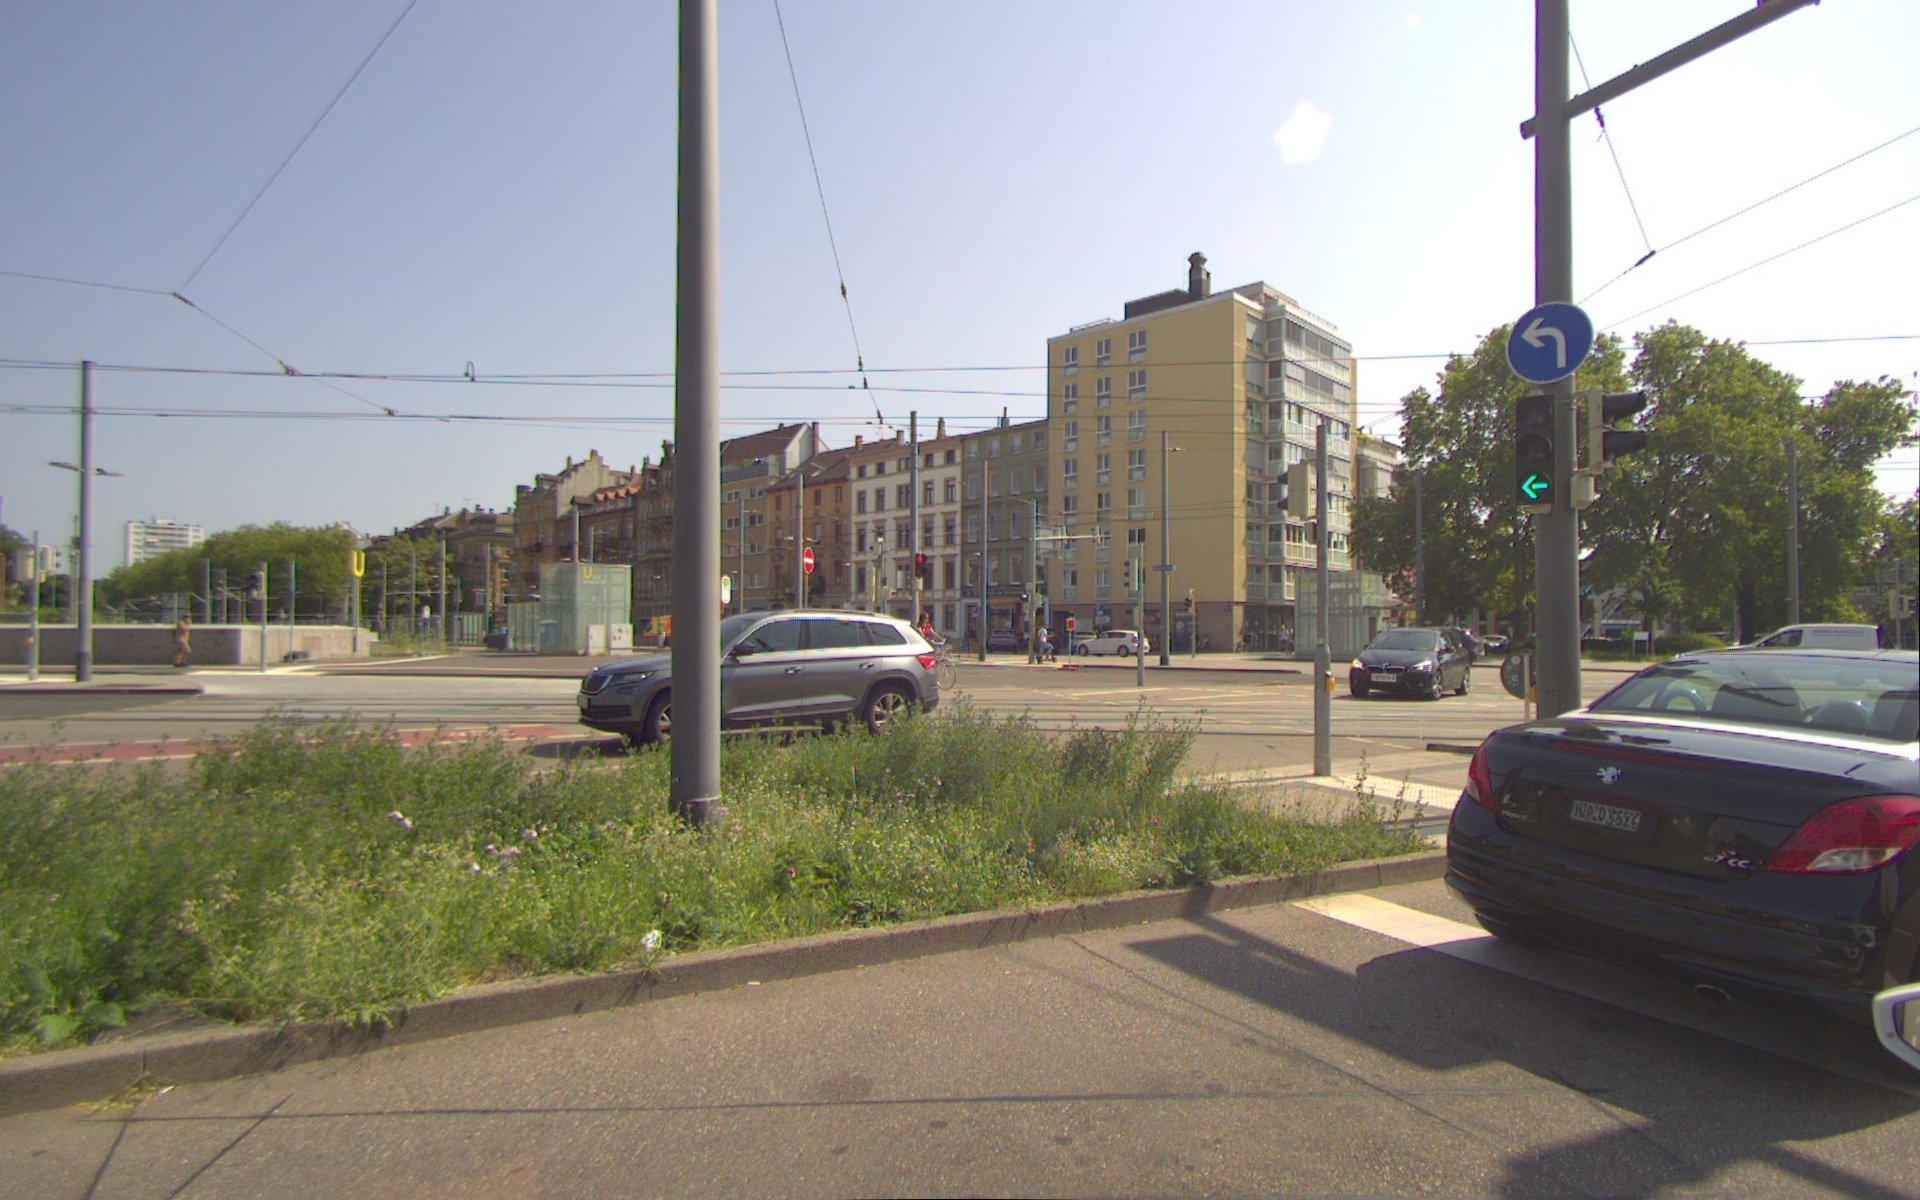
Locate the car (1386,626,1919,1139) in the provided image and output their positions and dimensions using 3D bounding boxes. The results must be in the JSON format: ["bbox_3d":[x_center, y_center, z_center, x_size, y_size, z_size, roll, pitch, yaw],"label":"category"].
[{"bbox_3d":[3.943,0.860,4.473,3.731,1.406,1.760,1,0,-26],"label":"car"}]

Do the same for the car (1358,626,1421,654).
[{"bbox_3d":[32.140,2.987,75.177,3.946,2.040,1.919,-1,-2,44],"label":"car"}]

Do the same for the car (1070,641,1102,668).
[{"bbox_3d":[7.633,3.301,61.308,1.712,1.528,4.002,0,-2,4],"label":"car"}]

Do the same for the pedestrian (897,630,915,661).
[{"bbox_3d":[-2.705,2.283,50.413,0.728,1.563,0.859,0,-2,10],"label":"pedestrian"}]

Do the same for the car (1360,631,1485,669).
[{"bbox_3d":[19.856,2.099,43.202,4.557,1.524,1.990,-1,-2,41],"label":"car"}]

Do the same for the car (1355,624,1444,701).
[{"bbox_3d":[10.039,1.352,22.940,1.706,1.581,4.206,0,-2,24],"label":"car"}]

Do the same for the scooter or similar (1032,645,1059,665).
[{"bbox_3d":[3.728,2.394,43.807,1.132,0.835,0.517,1,-2,-35],"label":"scooter or similar"}]

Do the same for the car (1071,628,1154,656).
[{"bbox_3d":[8.168,2.247,54.078,4.141,1.434,1.767,-1,-2,42],"label":"car"}]

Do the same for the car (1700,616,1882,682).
[{"bbox_3d":[27.580,1.580,33.488,4.557,2.040,1.990,-1,-2,41],"label":"car"}]

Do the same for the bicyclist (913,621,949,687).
[{"bbox_3d":[-0.686,1.264,23.609,0.632,1.529,0.553,1,-1,-36],"label":"bicyclist"}]

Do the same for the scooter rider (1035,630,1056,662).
[{"bbox_3d":[3.745,2.018,43.928,0.602,1.371,0.682,1,-1,-33],"label":"scooter rider"}]

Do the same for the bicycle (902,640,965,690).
[{"bbox_3d":[-0.640,1.503,23.562,0.499,1.108,1.918,1,-2,-35],"label":"bicycle"}]

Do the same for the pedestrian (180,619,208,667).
[{"bbox_3d":[-26.958,1.516,35.347,0.593,1.680,0.471,0,-1,-4],"label":"pedestrian"}]

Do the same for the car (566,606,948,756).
[{"bbox_3d":[-2.499,0.938,12.880,4.496,1.621,1.755,1,-2,-34],"label":"car"}]
